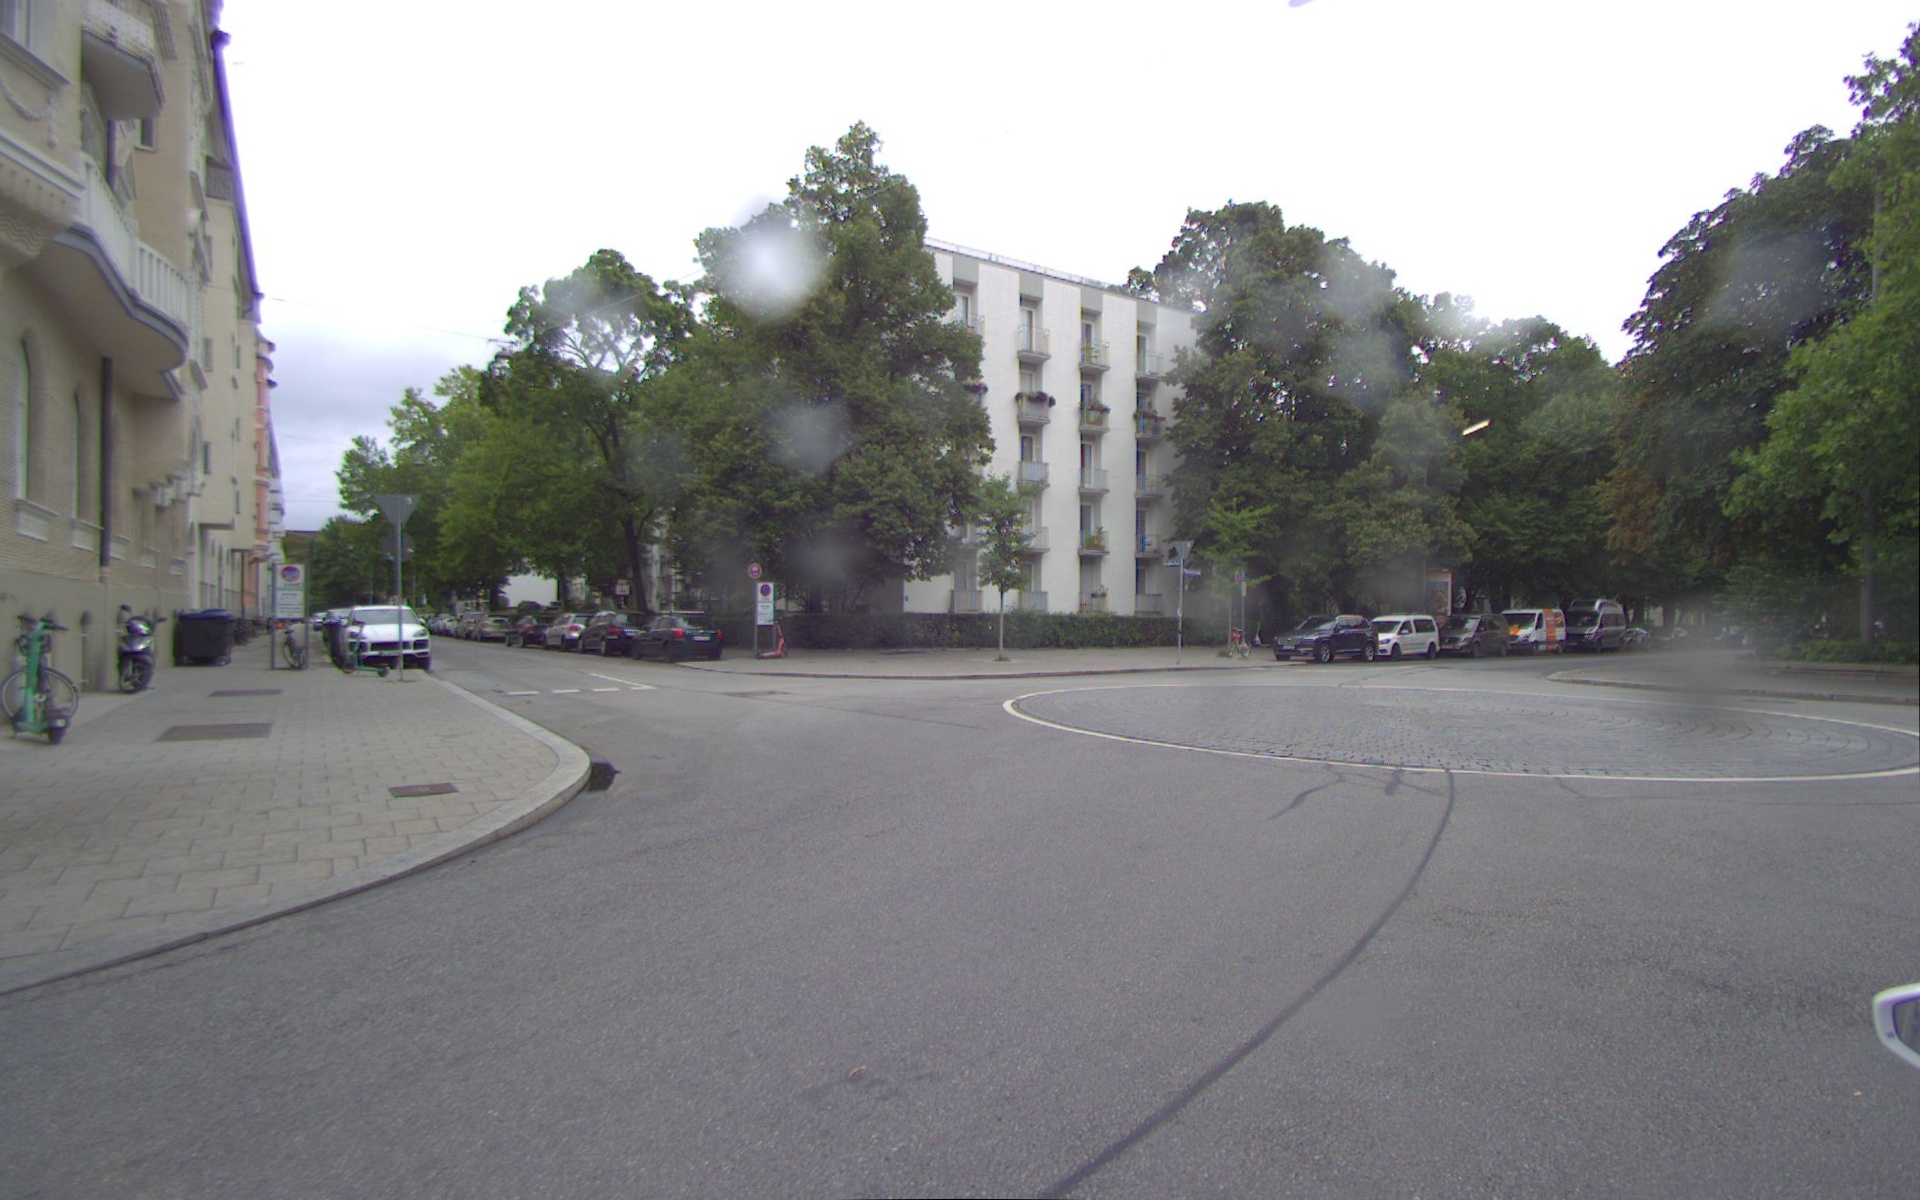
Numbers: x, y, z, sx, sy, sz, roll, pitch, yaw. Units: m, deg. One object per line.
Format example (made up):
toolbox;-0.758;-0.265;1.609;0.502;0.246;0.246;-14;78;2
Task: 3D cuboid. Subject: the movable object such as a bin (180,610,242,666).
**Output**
movable object such as a bin;-19.079;0.950;25.610;1.135;1.389;1.171;1;-1;-32

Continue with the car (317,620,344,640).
car;-55.827;2.643;89.062;1.932;1.660;3.964;1;-1;-33

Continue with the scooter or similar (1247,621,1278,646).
scooter or similar;14.582;1.617;48.377;1.645;1.207;0.695;1;-1;-42

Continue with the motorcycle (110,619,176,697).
motorcycle;-13.349;0.911;16.445;0.735;1.202;1.728;1;-1;-36

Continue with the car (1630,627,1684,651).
car;43.575;2.434;62.780;4.100;1.439;1.975;2;-1;-43

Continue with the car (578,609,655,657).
car;-12.197;1.146;35.553;1.658;1.548;3.642;-2;0;-34

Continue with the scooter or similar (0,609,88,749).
scooter or similar;-8.961;0.738;9.803;1.265;1.288;0.457;-1;-1;39

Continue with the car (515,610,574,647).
car;-18.082;1.217;43.669;1.658;1.476;3.642;-2;0;-34

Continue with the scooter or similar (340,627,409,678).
scooter or similar;-13.313;1.185;22.842;1.319;1.123;0.543;0;-1;12

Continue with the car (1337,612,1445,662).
car;17.603;1.496;40.946;4.817;1.929;2.067;1;-1;-39

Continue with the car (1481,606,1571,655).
car;28.183;1.530;49.954;5.556;2.294;2.067;1;-3;-40

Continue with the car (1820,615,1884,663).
car;50.600;2.174;56.942;5.386;2.592;1.977;1;-1;-40

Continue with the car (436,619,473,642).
car;-31.877;1.892;63.309;1.658;1.315;3.642;-2;0;-34

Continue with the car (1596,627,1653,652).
car;39.268;2.302;59.351;3.972;1.439;1.975;2;-1;-43

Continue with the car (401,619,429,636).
car;-45.267;2.262;83.454;1.658;1.315;3.642;-2;0;-34

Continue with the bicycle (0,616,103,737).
bicycle;-10.249;0.800;11.369;0.693;1.219;2.315;1;-1;-37

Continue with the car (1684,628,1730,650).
car;53.486;2.746;71.893;4.100;1.506;1.975;2;-1;-43

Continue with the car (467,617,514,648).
car;-24.664;1.666;52.664;1.658;1.476;3.642;-2;0;-34

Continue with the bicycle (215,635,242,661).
bicycle;-27.050;1.749;37.133;0.649;0.914;1.793;1;-1;-41

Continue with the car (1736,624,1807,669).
car;38.327;2.154;47.400;4.933;1.962;1.894;2;-1;-43

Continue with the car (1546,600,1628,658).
car;34.791;1.605;55.675;6.185;3.042;2.154;1;-1;-41

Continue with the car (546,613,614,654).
car;-14.916;1.288;39.342;1.658;1.476;3.642;-2;0;-34

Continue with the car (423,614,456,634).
car;-37.018;1.694;71.422;1.658;1.315;3.642;-2;0;-34

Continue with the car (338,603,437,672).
car;-15.689;0.971;27.393;1.979;1.698;4.943;1;-1;-34

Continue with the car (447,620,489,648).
car;-28.761;1.954;58.695;1.658;1.476;3.642;-2;0;-34

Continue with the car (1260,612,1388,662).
car;13.656;1.348;37.543;5.257;1.742;2.068;1;-1;-38

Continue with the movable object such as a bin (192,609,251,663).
movable object such as a bin;-19.605;0.950;26.699;1.135;1.389;1.171;1;-1;-32

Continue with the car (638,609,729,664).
car;-8.714;1.103;31.496;1.658;1.548;3.642;-2;0;-34

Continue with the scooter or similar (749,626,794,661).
scooter or similar;-5.730;1.308;30.577;0.521;1.038;1.303;0;-1;44

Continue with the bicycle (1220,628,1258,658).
bicycle;10.668;1.639;38.321;0.742;1.099;1.776;-1;-1;39

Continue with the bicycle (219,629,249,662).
bicycle;-25.253;1.568;34.927;0.649;1.083;1.793;1;-1;-41

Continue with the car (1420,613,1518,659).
car;22.988;1.610;45.250;5.624;1.933;2.008;2;-3;-42

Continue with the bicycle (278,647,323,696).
bicycle;-15.959;1.710;24.290;0.649;1.083;1.952;1;-1;-41
